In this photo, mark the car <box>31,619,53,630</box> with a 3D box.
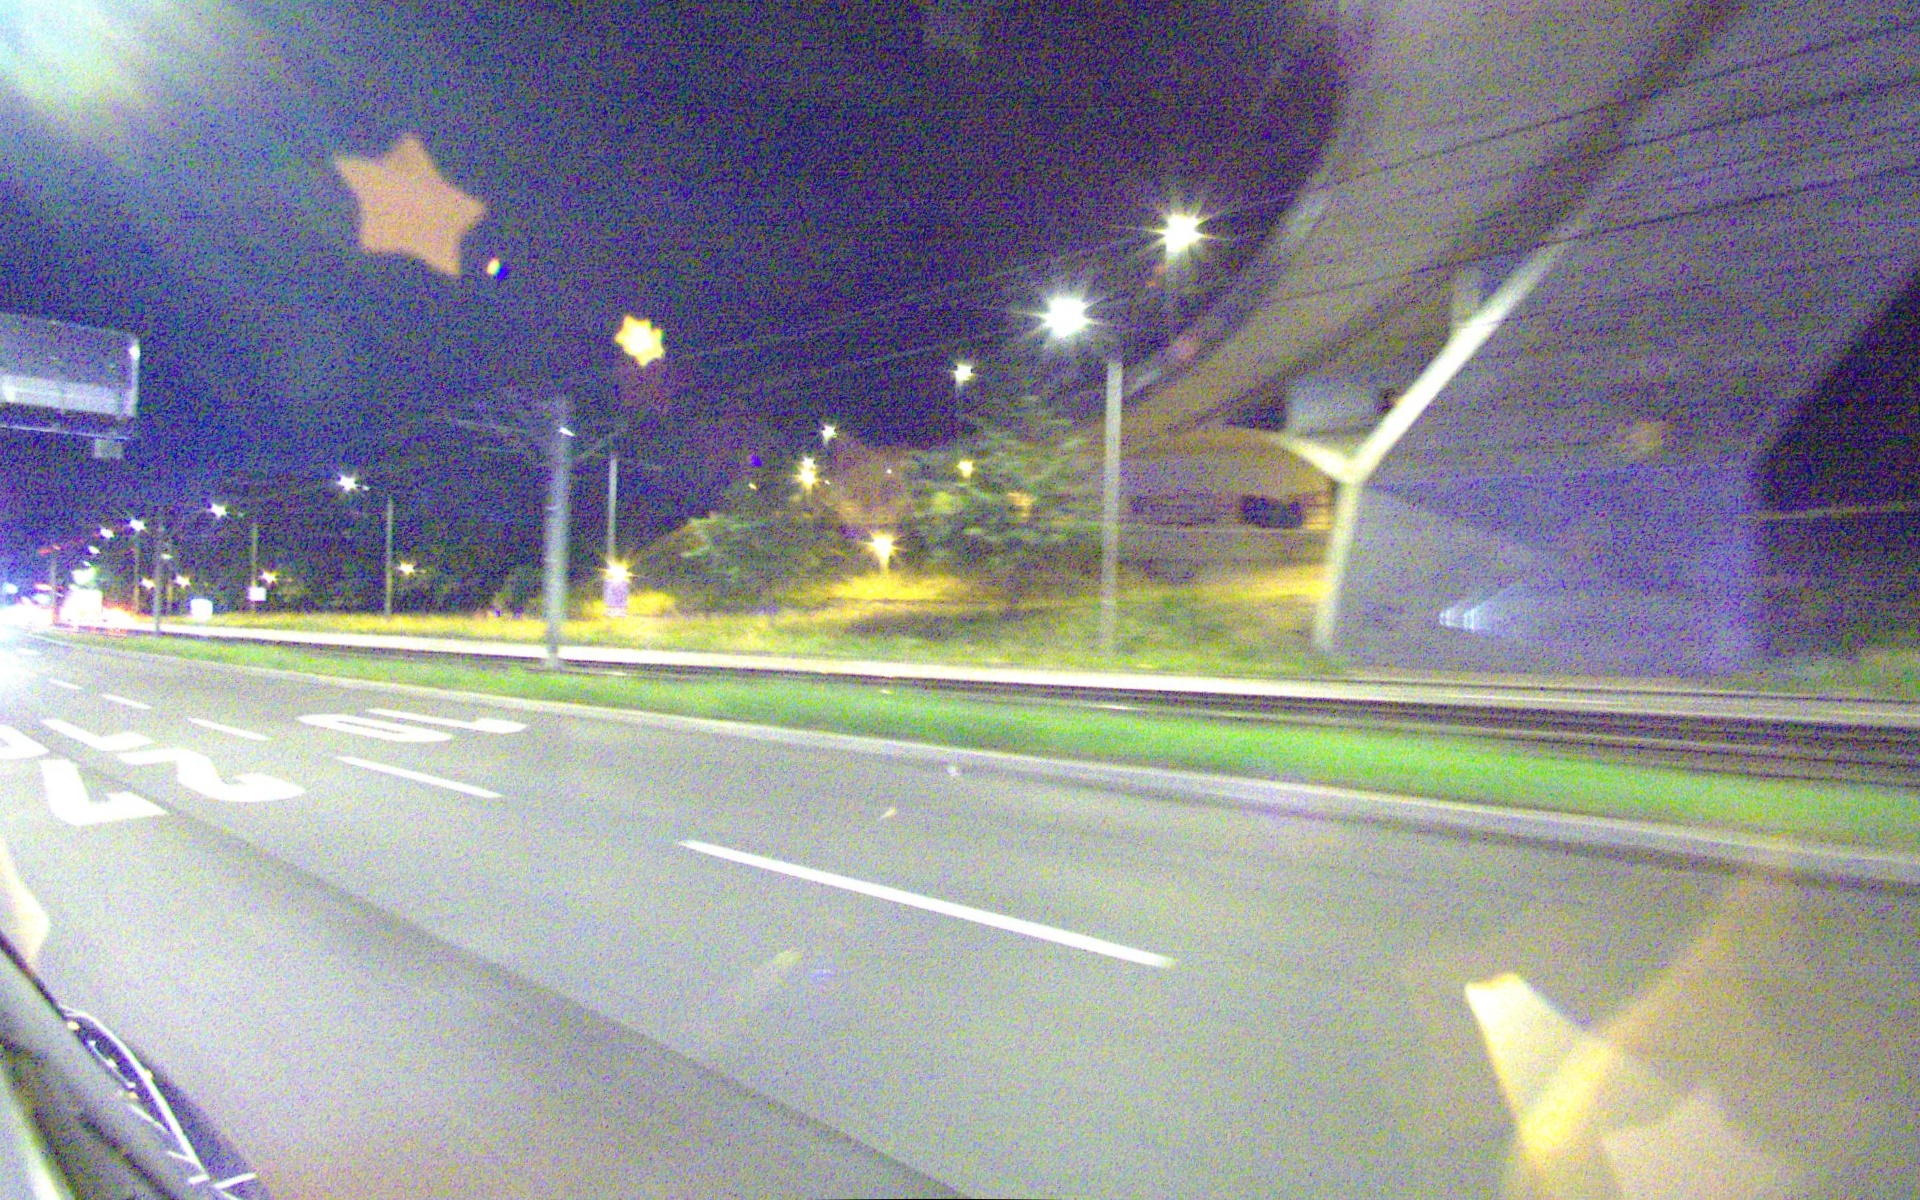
[{"bbox_3d":[-133.343,3.551,146.973,4.082,1.510,1.786,0,-1,40],"label":"car"}]

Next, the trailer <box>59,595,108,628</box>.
[{"bbox_3d":[-111.453,1.384,128.670,8.392,4.019,3.657,0,1,42],"label":"trailer"}]

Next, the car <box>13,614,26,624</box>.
[{"bbox_3d":[-179.702,3.587,193.406,1.768,1.921,4.005,-1,1,-42],"label":"car"}]

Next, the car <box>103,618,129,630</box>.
[{"bbox_3d":[-108.278,3.060,129.820,4.202,1.492,1.965,-1,-3,42],"label":"car"}]

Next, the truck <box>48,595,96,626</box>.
[{"bbox_3d":[-118.473,1.373,134.993,10.418,3.984,3.642,0,1,42],"label":"truck"}]
